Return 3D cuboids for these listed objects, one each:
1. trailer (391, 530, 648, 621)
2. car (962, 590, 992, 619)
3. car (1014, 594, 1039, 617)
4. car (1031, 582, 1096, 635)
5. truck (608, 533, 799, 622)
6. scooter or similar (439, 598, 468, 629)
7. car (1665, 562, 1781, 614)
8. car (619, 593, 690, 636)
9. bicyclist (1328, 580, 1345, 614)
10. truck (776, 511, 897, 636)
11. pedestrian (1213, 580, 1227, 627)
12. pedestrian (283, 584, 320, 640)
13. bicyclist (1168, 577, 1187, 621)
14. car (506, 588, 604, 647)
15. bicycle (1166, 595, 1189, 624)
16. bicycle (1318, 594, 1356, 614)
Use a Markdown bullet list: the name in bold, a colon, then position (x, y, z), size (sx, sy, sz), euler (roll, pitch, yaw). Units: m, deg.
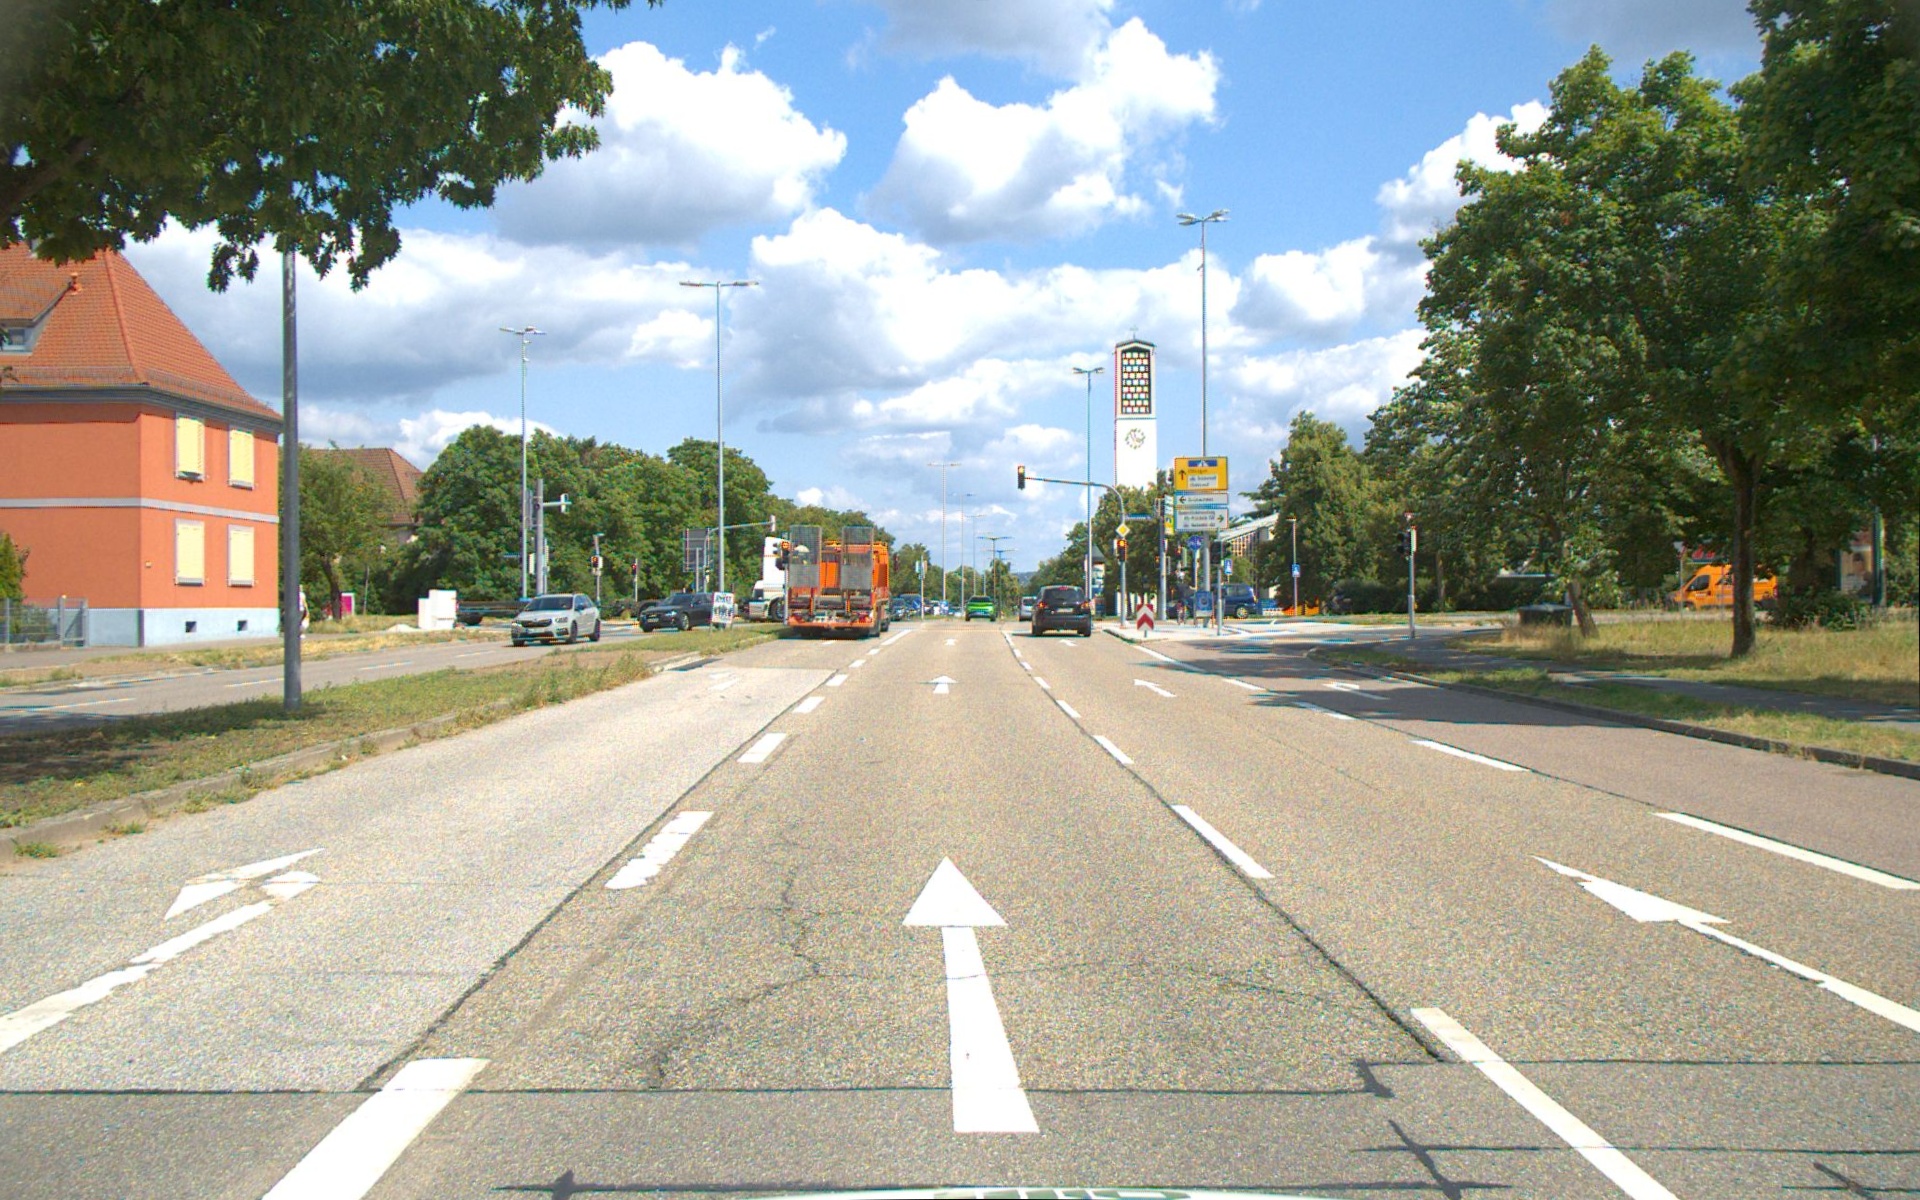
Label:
- **trailer**: position (-20.613, -1.142, 77.889), size (11.048, 4.082, 3.633), euler (1, 0, 1)
- **car**: position (1.021, 0.270, 100.028), size (1.705, 1.698, 3.589), euler (2, -1, -1)
- **car**: position (4.914, 0.418, 122.370), size (1.624, 1.582, 3.999), euler (2, -1, -1)
- **car**: position (3.269, 0.277, 52.865), size (1.763, 1.579, 3.999), euler (2, -1, -1)
- **truck**: position (-11.970, -1.030, 77.844), size (8.431, 4.040, 2.969), euler (0, -1, 1)
- **scooter or similar**: position (-19.634, 0.523, 64.125), size (0.577, 1.184, 1.761), euler (2, -1, -1)
- **car**: position (36.031, -0.561, 78.245), size (4.742, 2.265, 2.212), euler (1, -1, 18)
- **car**: position (-11.044, 0.514, 60.055), size (1.735, 1.463, 4.575), euler (-1, 0, -1)
- **bicyclist**: position (20.867, -0.162, 91.668), size (0.772, 1.836, 0.684), euler (0, -1, 32)
- **truck**: position (-3.715, -0.690, 52.448), size (3.008, 3.474, 11.066), euler (2, -1, -1)
- **pedestrian**: position (10.176, 0.138, 64.720), size (0.454, 1.810, 0.482), euler (1, -1, 11)
- **pedestrian**: position (-19.489, 0.362, 48.958), size (0.682, 1.611, 0.851), euler (2, -1, -1)
- **bicyclist**: position (8.570, -0.032, 65.206), size (0.634, 1.690, 0.650), euler (1, -1, 15)
- **car**: position (-11.813, 0.519, 48.557), size (1.697, 1.534, 4.652), euler (-4, -1, -1)
- **bicycle**: position (8.608, 0.389, 65.389), size (0.634, 1.127, 1.929), euler (1, -1, 15)
- **bicycle**: position (20.875, 0.238, 91.668), size (1.961, 1.113, 0.684), euler (0, -1, 32)
